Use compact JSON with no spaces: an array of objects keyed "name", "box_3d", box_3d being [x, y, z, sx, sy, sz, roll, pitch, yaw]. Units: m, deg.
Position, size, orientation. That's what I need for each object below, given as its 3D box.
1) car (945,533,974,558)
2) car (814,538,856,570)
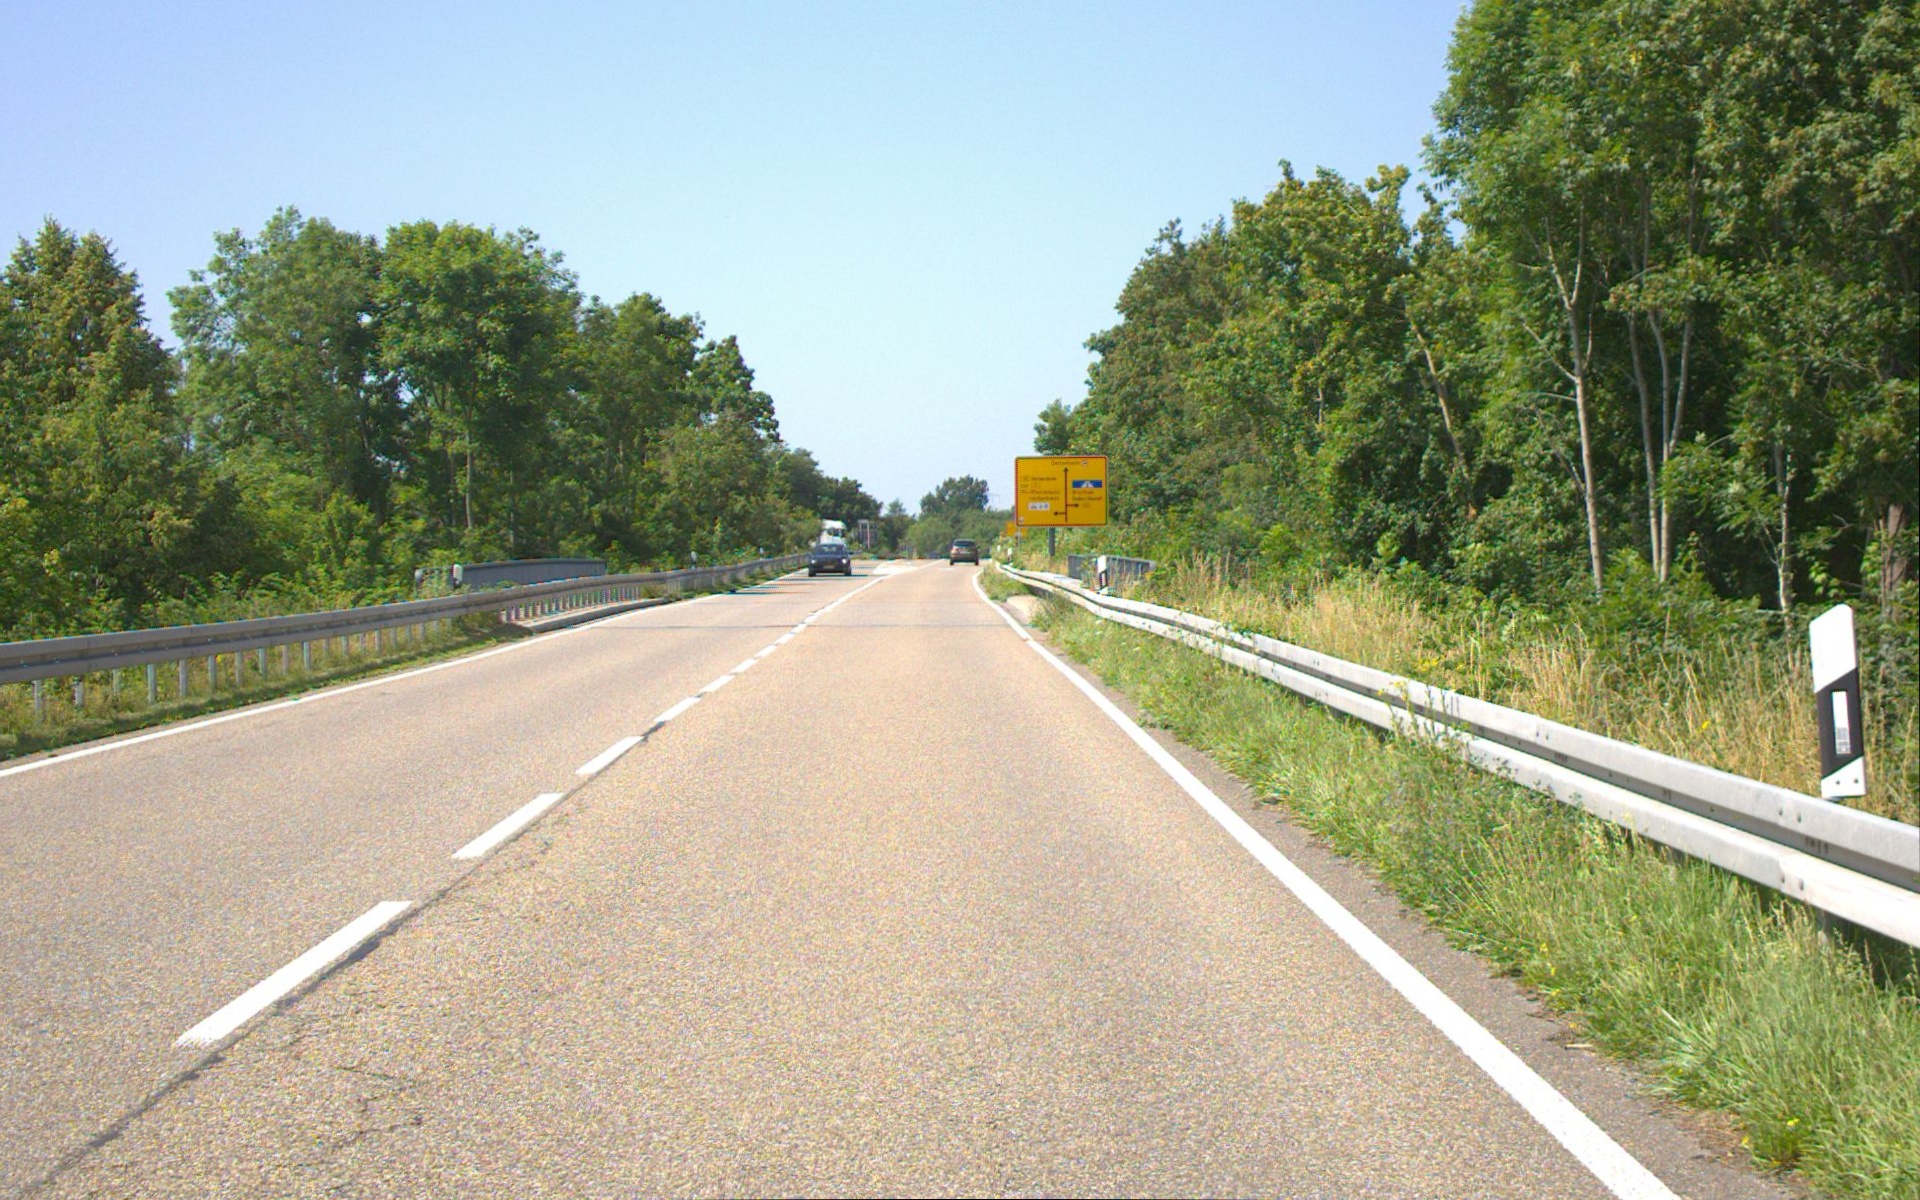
[{"name":"car","box_3d":[-0.016,-3.337,209.890,1.741,1.465,3.692,0,1,1]},{"name":"car","box_3d":[-5.567,-2.059,153.621,1.746,1.420,4.677,0,1,0]}]
